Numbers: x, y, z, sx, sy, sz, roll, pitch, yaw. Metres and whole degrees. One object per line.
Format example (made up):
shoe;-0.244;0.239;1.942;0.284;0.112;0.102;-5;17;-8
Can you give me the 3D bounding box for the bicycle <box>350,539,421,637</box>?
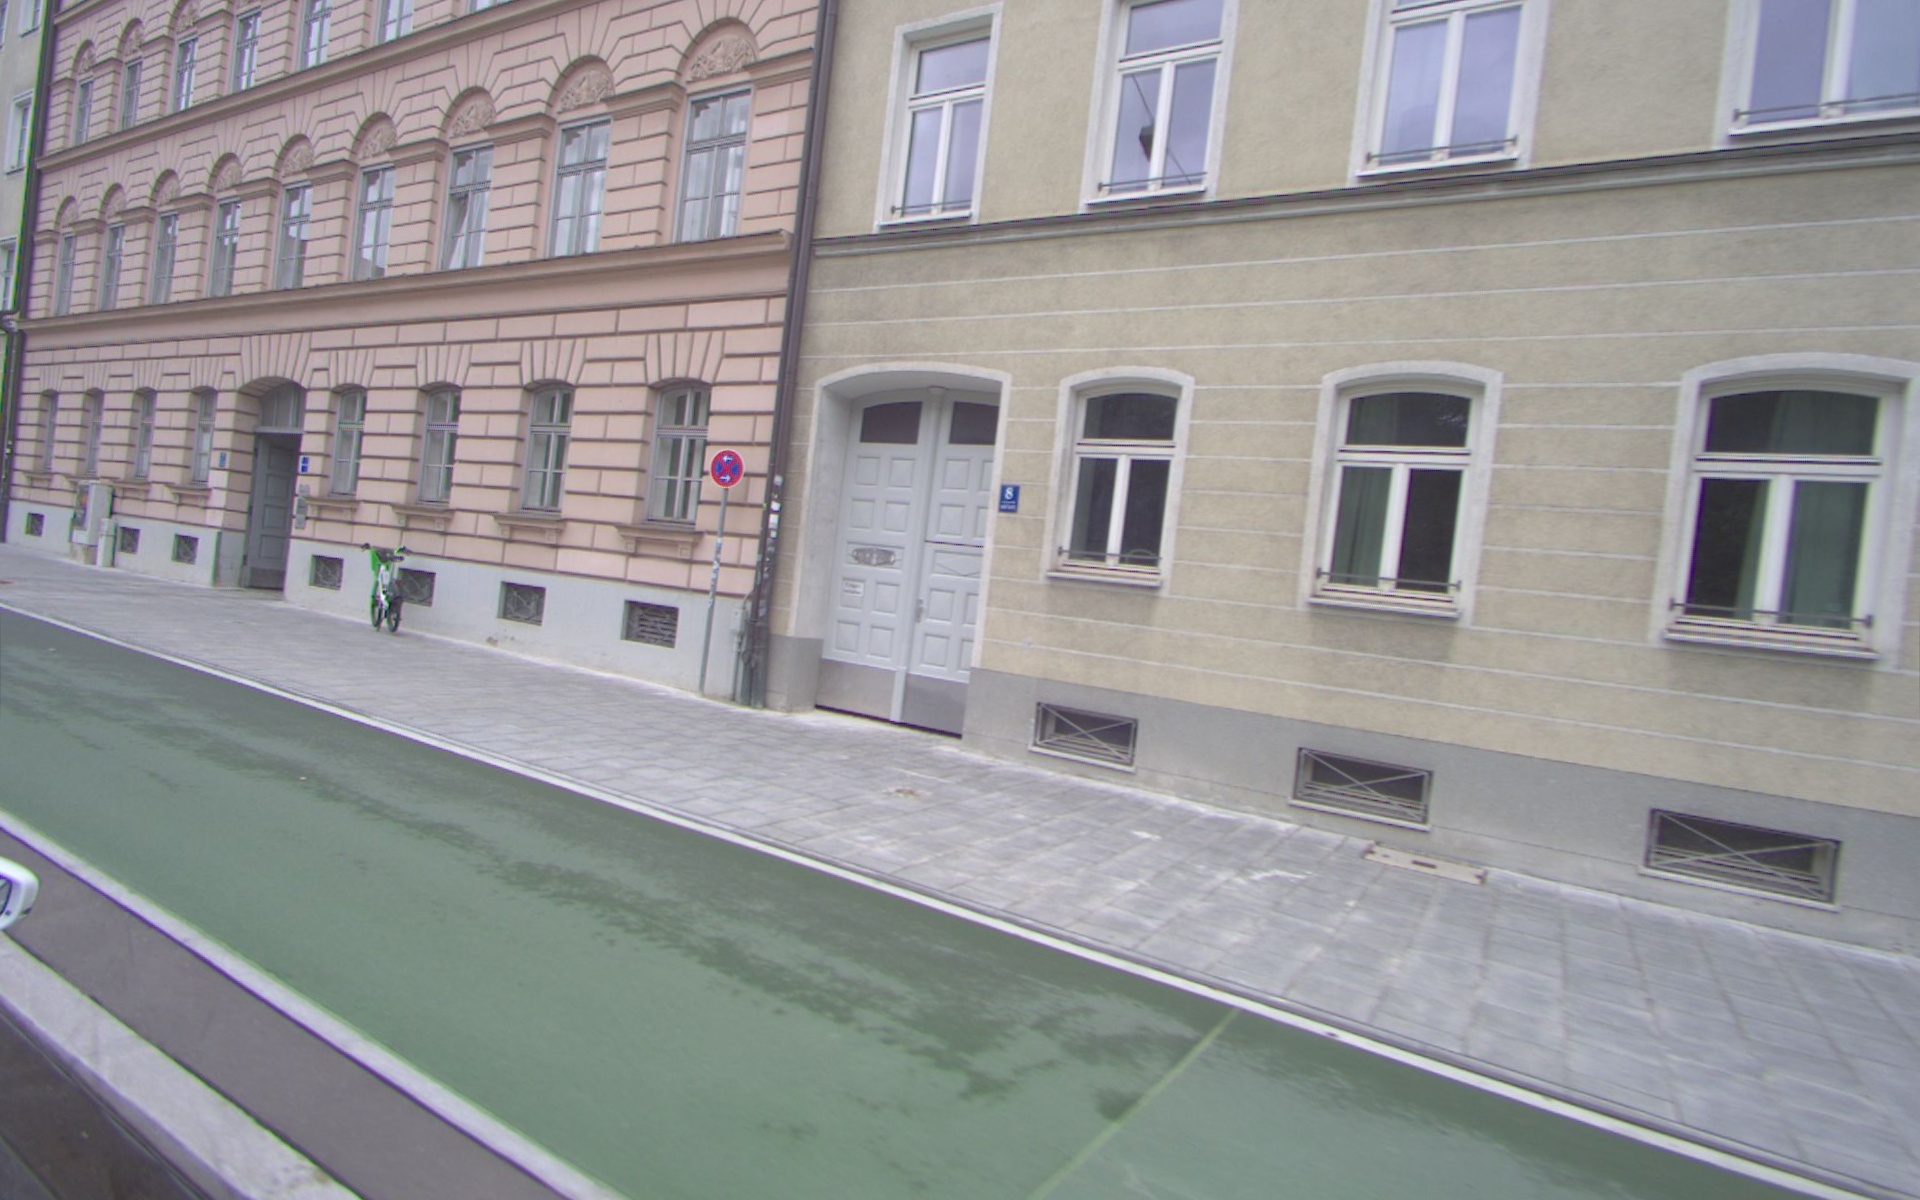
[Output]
bicycle;-7.911;-0.185;13.818;0.424;1.189;1.711;5;2;-41
